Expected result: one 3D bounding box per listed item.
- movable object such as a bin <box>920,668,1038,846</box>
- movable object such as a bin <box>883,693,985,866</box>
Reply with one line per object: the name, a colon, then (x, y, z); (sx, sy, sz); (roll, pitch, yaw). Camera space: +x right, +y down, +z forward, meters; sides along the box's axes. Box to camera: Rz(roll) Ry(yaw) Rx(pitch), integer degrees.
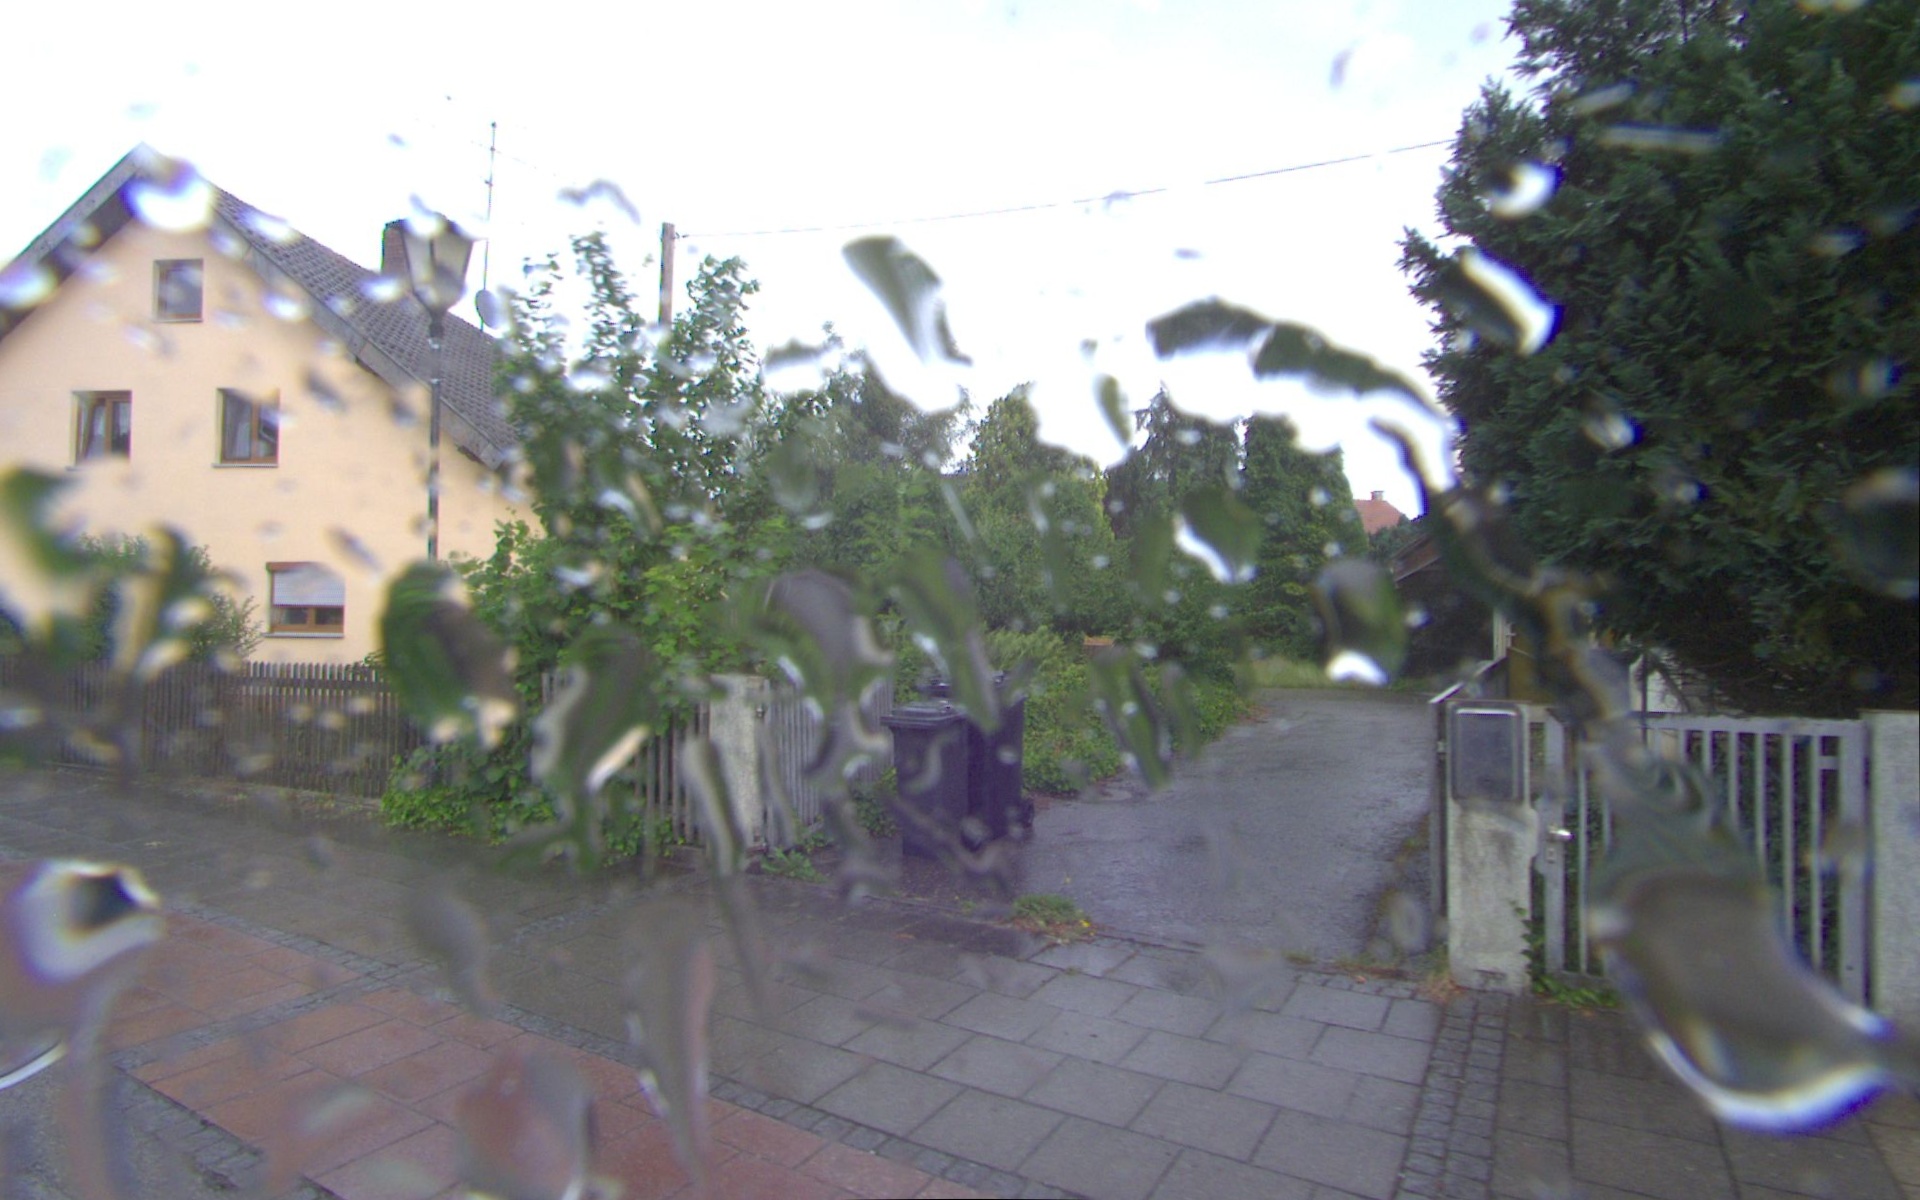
movable object such as a bin: (0.133, 0.999, 6.595); (0.545, 1.054, 0.574); (-1, 1, 33)
movable object such as a bin: (-0.155, 1.066, 6.093); (0.440, 0.948, 0.432); (-1, 1, 33)
